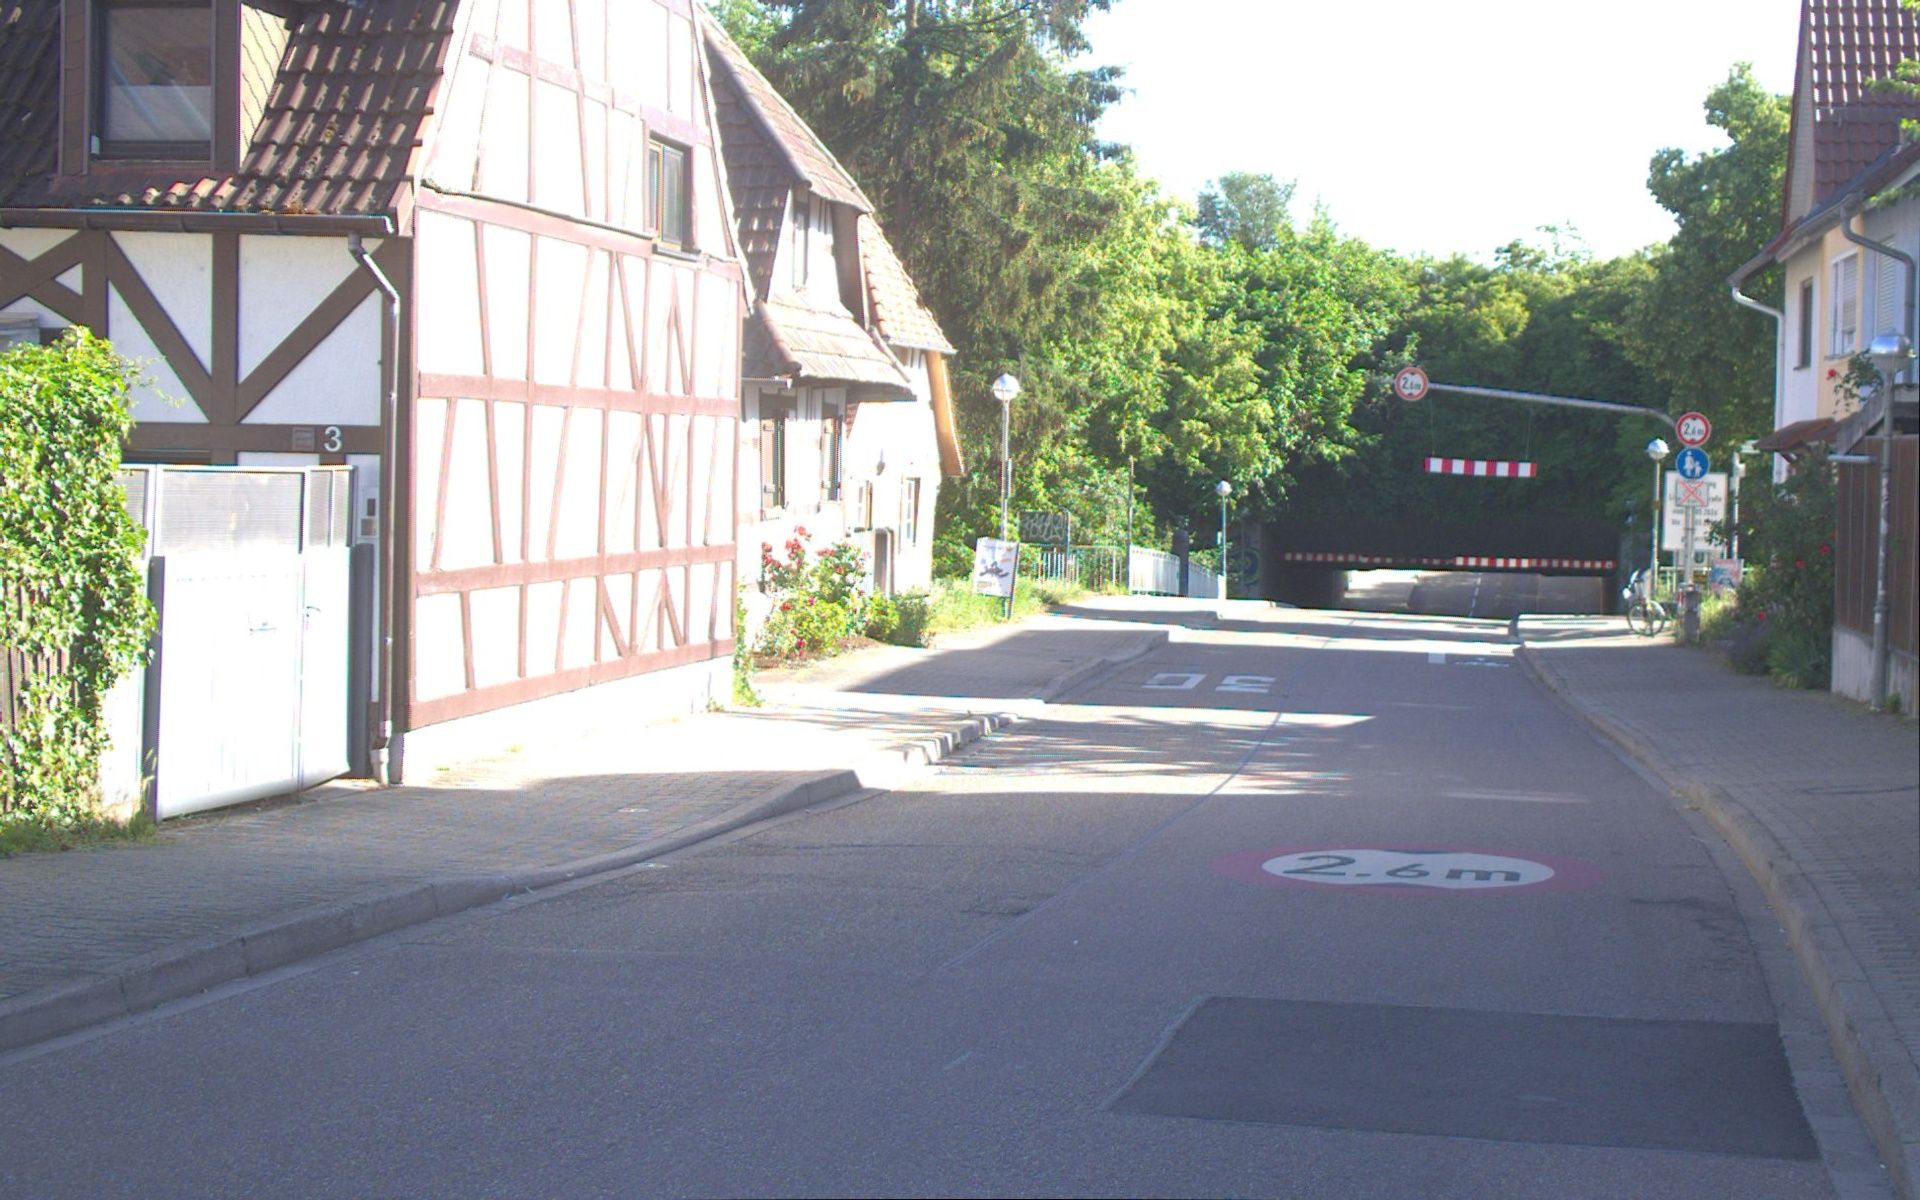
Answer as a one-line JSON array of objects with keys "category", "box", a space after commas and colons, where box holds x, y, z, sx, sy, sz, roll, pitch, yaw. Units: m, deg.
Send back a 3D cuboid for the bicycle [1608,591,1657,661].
[{"category": "bicycle", "box": [11.502, 0.437, 58.799, 0.689, 1.153, 1.539, -2, 0, 8]}]
